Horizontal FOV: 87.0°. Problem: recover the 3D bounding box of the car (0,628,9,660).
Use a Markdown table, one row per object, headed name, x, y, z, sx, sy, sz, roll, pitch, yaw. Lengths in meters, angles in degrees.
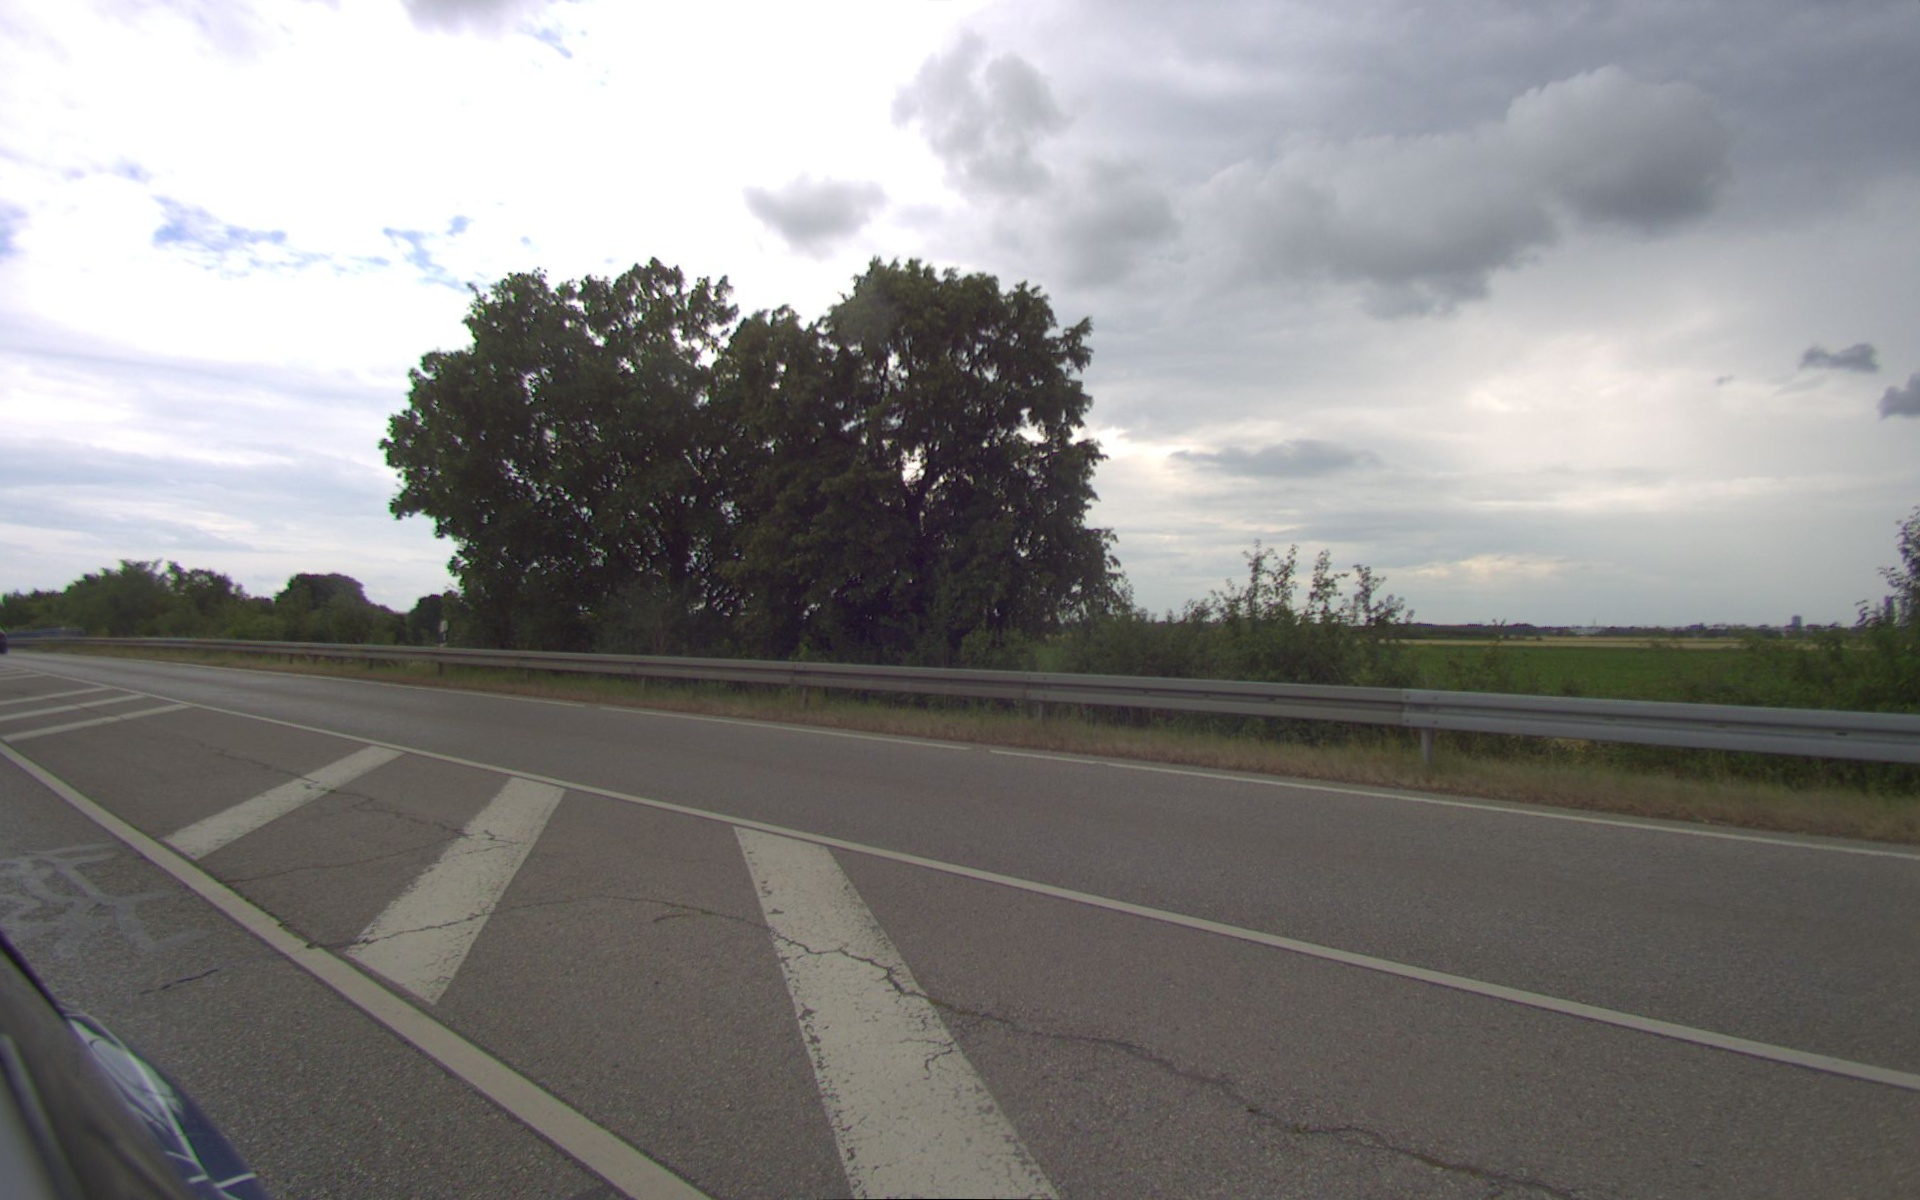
| name | x | y | z | sx | sy | sz | roll | pitch | yaw |
| --- | --- | --- | --- | --- | --- | --- | --- | --- | --- |
| car | -49.233 | 2.220 | 50.770 | 4.033 | 1.558 | 1.811 | -1 | -1 | 41 |
